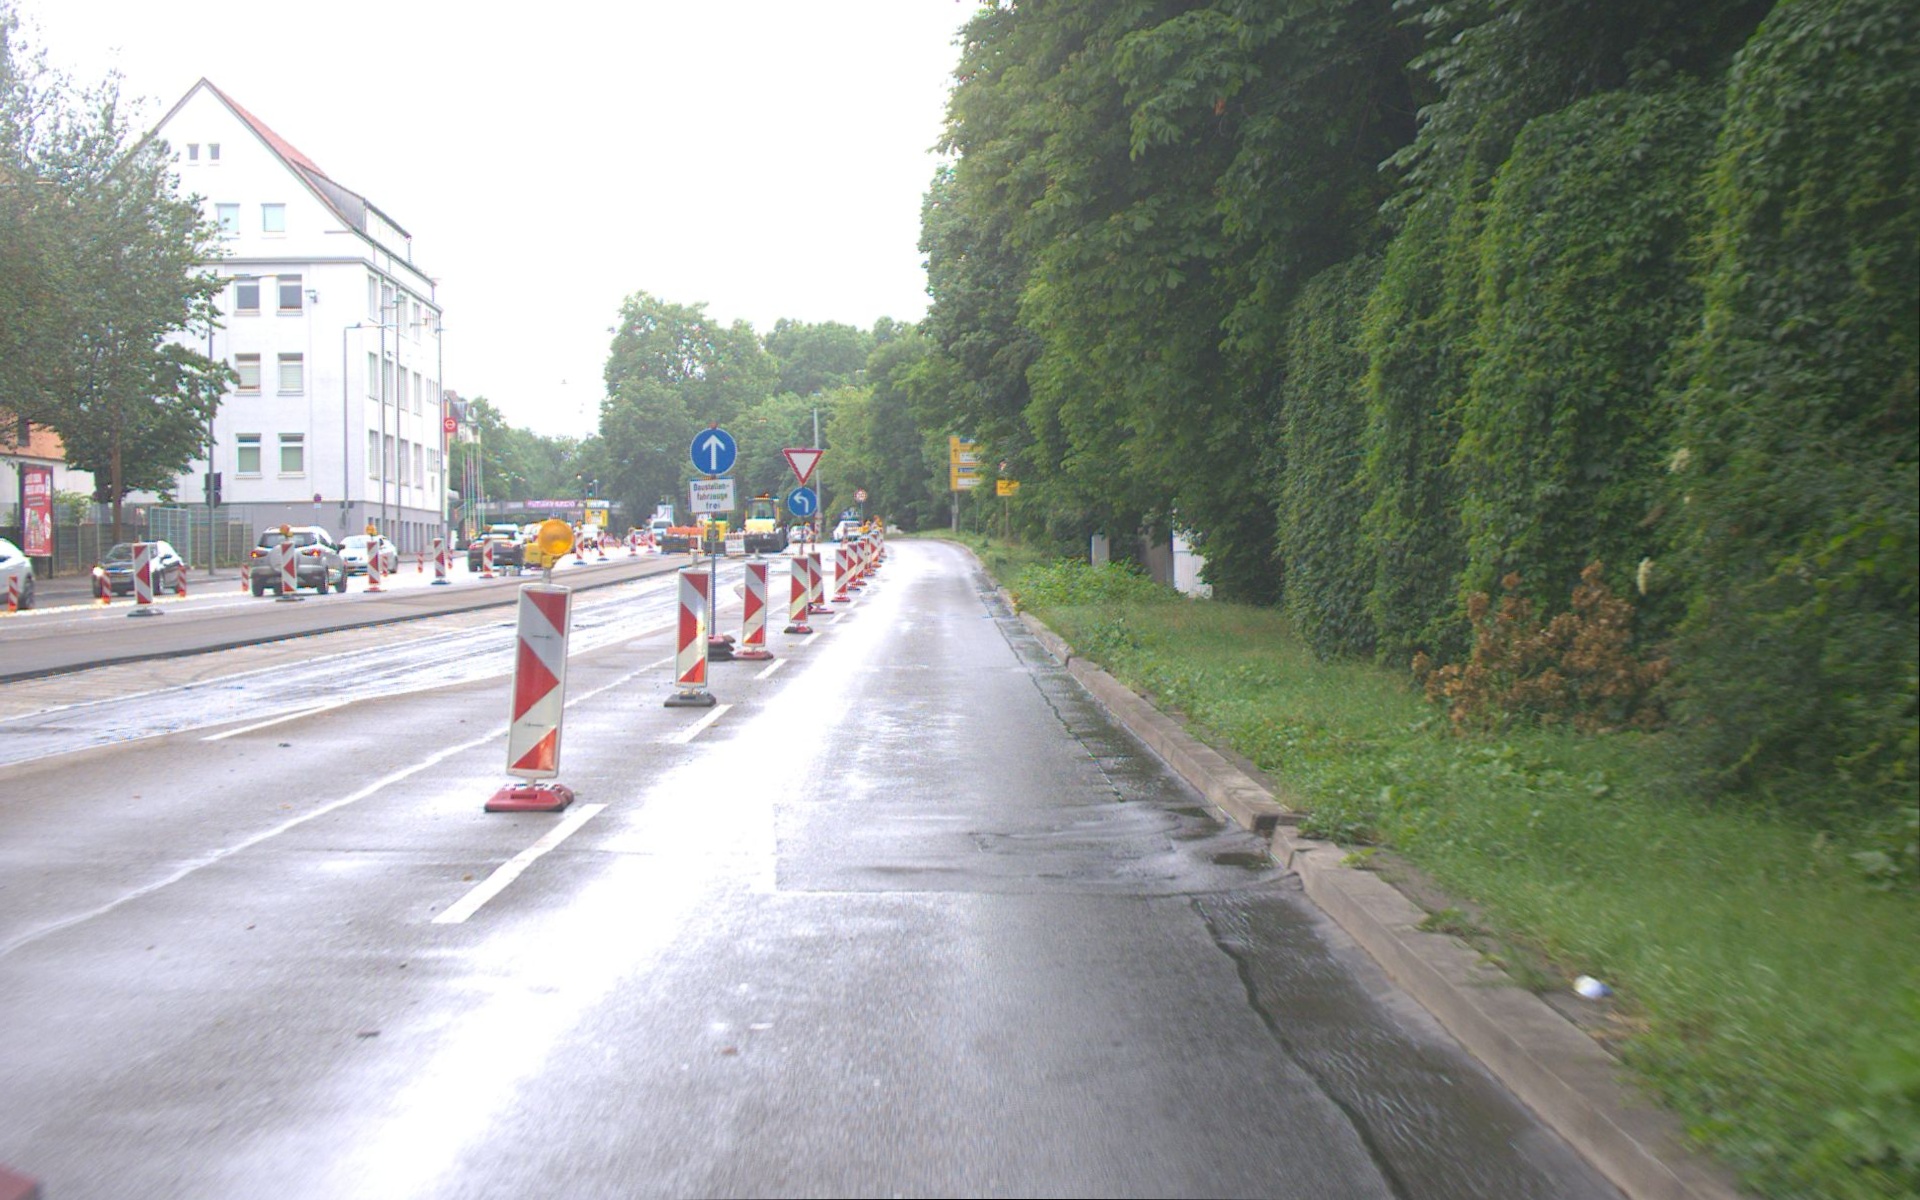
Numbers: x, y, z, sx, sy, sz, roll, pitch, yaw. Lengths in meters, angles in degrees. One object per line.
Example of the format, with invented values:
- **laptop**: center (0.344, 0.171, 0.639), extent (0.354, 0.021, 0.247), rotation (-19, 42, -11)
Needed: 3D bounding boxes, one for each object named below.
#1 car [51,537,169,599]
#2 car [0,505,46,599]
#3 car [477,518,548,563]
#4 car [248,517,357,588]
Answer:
- **car**: center (-22.527, -0.868, 91.239), extent (1.993, 1.581, 4.619), rotation (0, 1, 0)
- **car**: center (-18.998, -0.925, 65.595), extent (1.993, 1.760, 4.279), rotation (1, 1, 0)
- **car**: center (-15.663, -2.085, 120.420), extent (1.993, 1.514, 4.000), rotation (1, 1, -1)
- **car**: center (-15.698, -1.144, 82.204), extent (1.854, 1.642, 4.000), rotation (1, 1, 0)
